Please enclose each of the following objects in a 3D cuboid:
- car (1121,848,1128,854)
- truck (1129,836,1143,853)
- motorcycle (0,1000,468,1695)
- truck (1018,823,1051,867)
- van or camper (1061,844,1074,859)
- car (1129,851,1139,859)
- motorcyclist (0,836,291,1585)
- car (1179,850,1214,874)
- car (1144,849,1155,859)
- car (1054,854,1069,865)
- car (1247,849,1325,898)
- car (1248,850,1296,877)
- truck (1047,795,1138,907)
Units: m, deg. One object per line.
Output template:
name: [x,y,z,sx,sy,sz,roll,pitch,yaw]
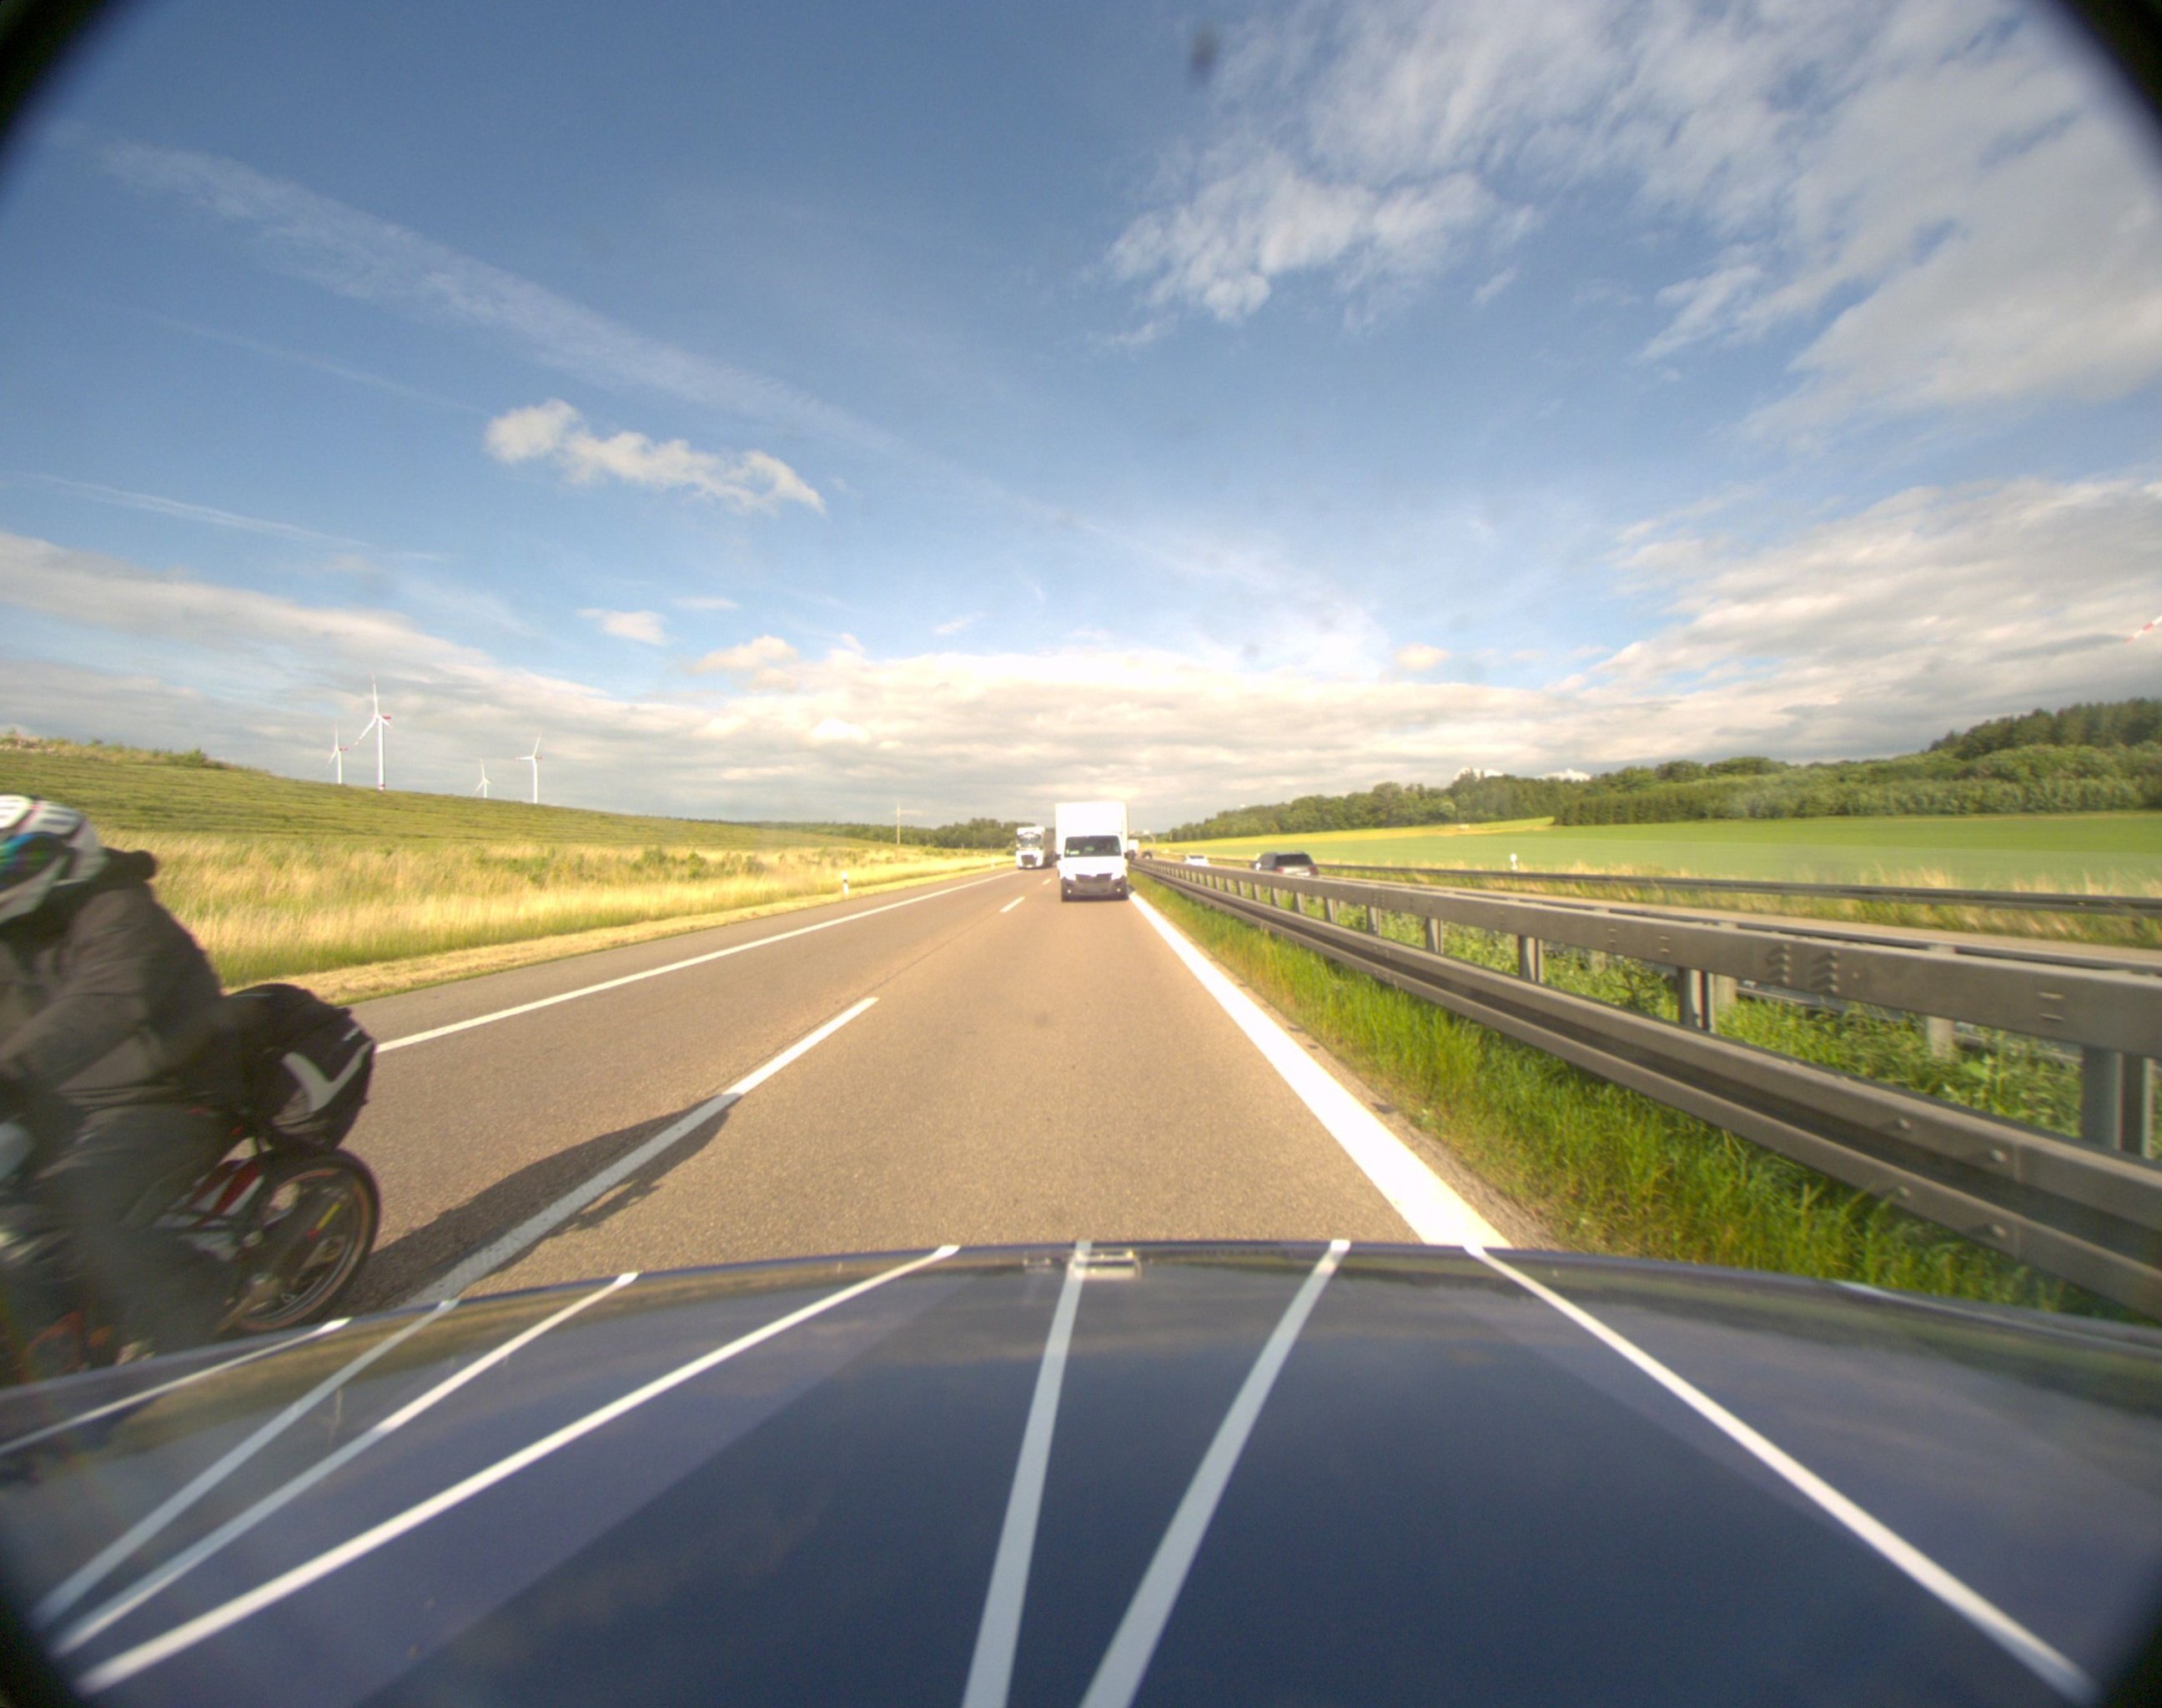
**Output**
car: [11.215,-0.799,195.914,1.619,1.576,4.064,-2,1,0]
truck: [15.408,-2.775,213.943,2.887,4.608,13.421,-2,1,1]
motorcycle: [-2.675,1.141,1.579,0.898,1.183,2.256,-2,1,1]
truck: [-4.458,-0.843,73.714,2.608,4.017,6.118,-3,1,0]
van or camper: [-2.439,-0.522,141.876,2.102,2.530,6.411,-2,1,1]
car: [10.163,0.105,146.614,1.619,1.384,3.999,-2,1,0]
motorcyclist: [-2.688,0.751,1.661,0.852,1.551,0.934,-2,1,1]
car: [8.054,0.500,53.360,1.754,1.512,4.479,-2,1,0]
car: [12.085,-0.010,134.594,1.619,1.512,3.999,-2,1,0]
car: [-2.814,0.745,111.241,1.871,1.409,4.461,-2,1,1]
car: [7.576,0.652,28.484,1.754,1.594,4.265,-2,1,0]
car: [11.442,0.540,45.809,1.754,1.471,4.479,-2,1,0]
truck: [0.351,-0.102,27.293,2.502,3.141,11.162,-2,0,0]
